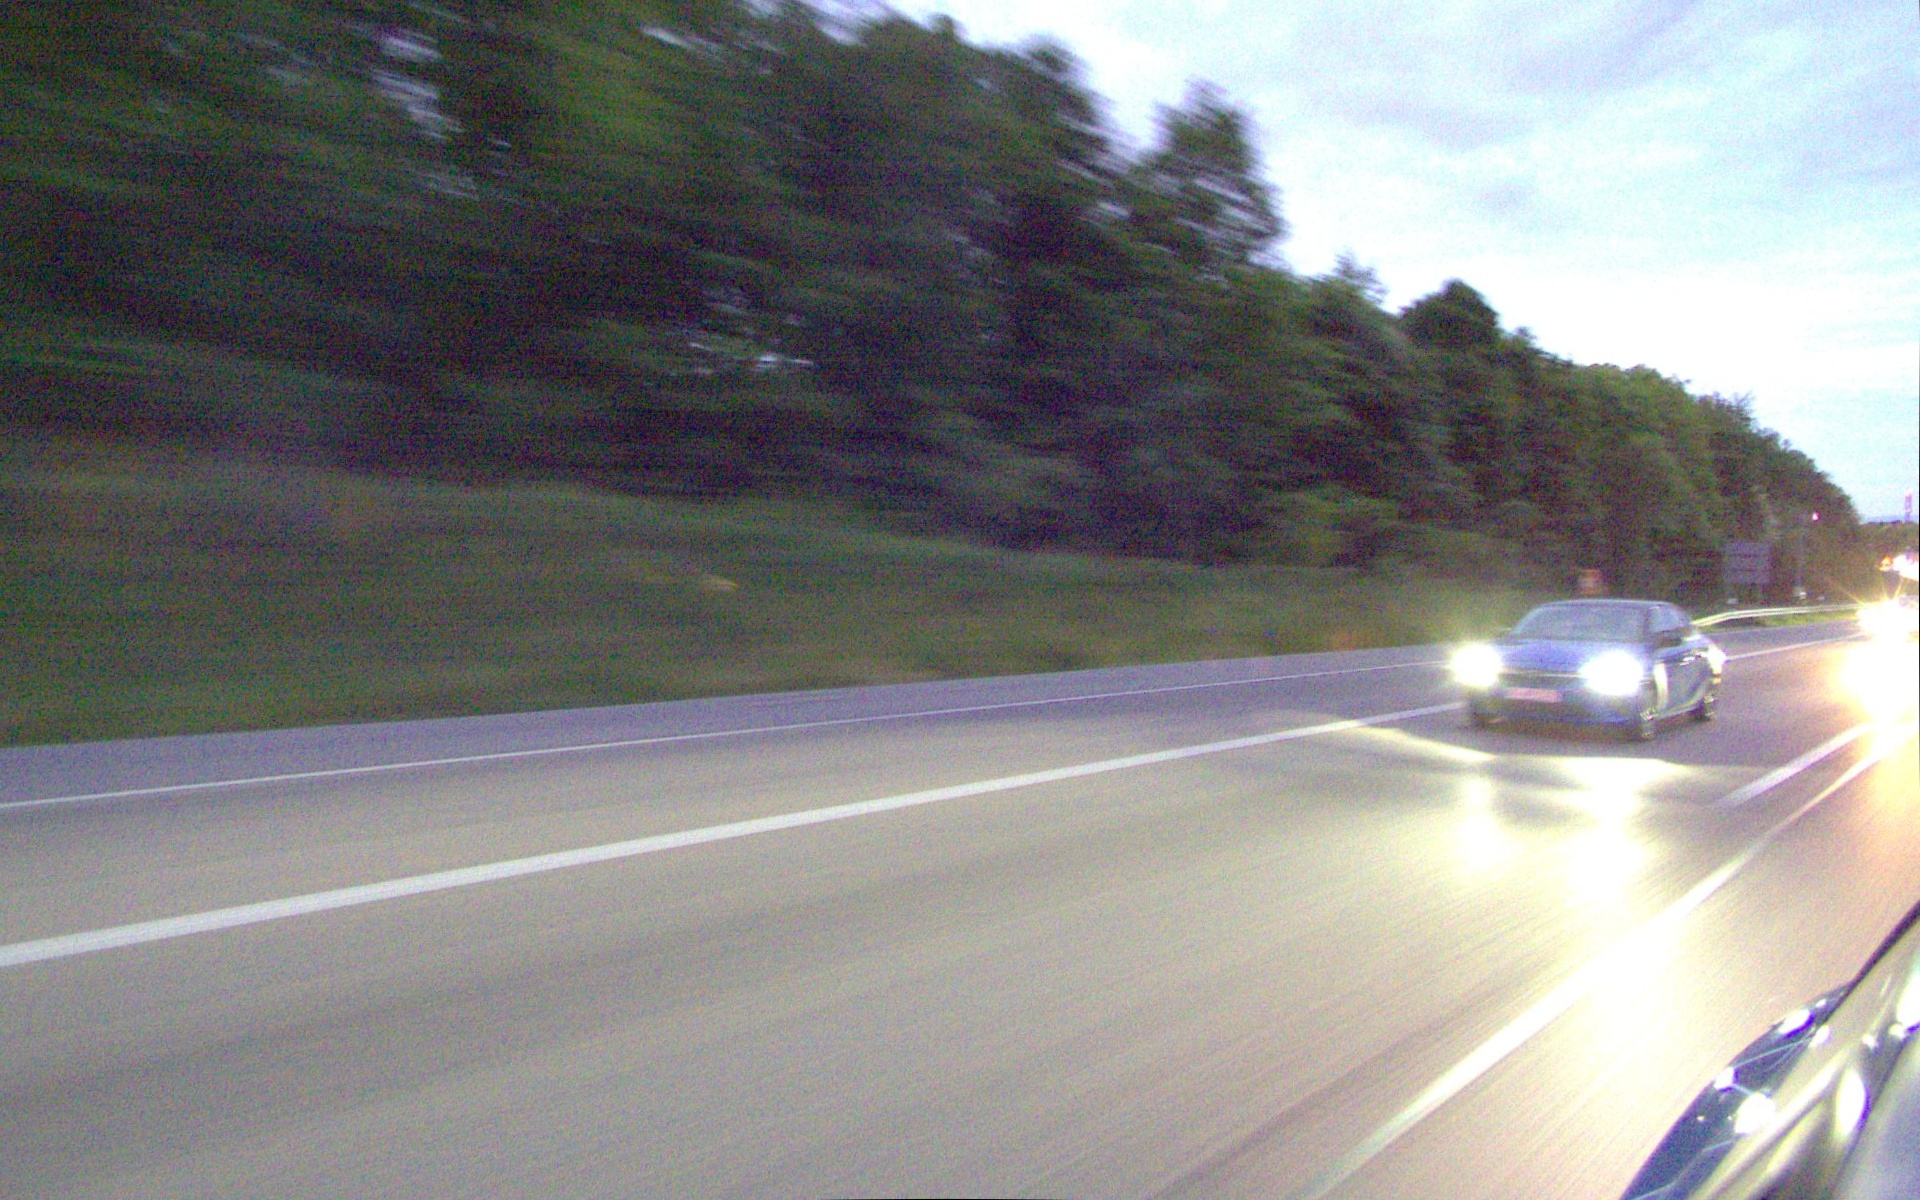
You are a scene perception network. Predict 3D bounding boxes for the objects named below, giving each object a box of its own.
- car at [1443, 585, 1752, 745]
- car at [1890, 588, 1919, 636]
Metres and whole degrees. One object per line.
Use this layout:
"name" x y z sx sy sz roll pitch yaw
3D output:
"car" 7.527 0.587 11.750 4.505 1.454 1.868 -2 1 -42
"car" 32.044 0.362 33.099 4.860 1.509 1.695 0 0 -39
